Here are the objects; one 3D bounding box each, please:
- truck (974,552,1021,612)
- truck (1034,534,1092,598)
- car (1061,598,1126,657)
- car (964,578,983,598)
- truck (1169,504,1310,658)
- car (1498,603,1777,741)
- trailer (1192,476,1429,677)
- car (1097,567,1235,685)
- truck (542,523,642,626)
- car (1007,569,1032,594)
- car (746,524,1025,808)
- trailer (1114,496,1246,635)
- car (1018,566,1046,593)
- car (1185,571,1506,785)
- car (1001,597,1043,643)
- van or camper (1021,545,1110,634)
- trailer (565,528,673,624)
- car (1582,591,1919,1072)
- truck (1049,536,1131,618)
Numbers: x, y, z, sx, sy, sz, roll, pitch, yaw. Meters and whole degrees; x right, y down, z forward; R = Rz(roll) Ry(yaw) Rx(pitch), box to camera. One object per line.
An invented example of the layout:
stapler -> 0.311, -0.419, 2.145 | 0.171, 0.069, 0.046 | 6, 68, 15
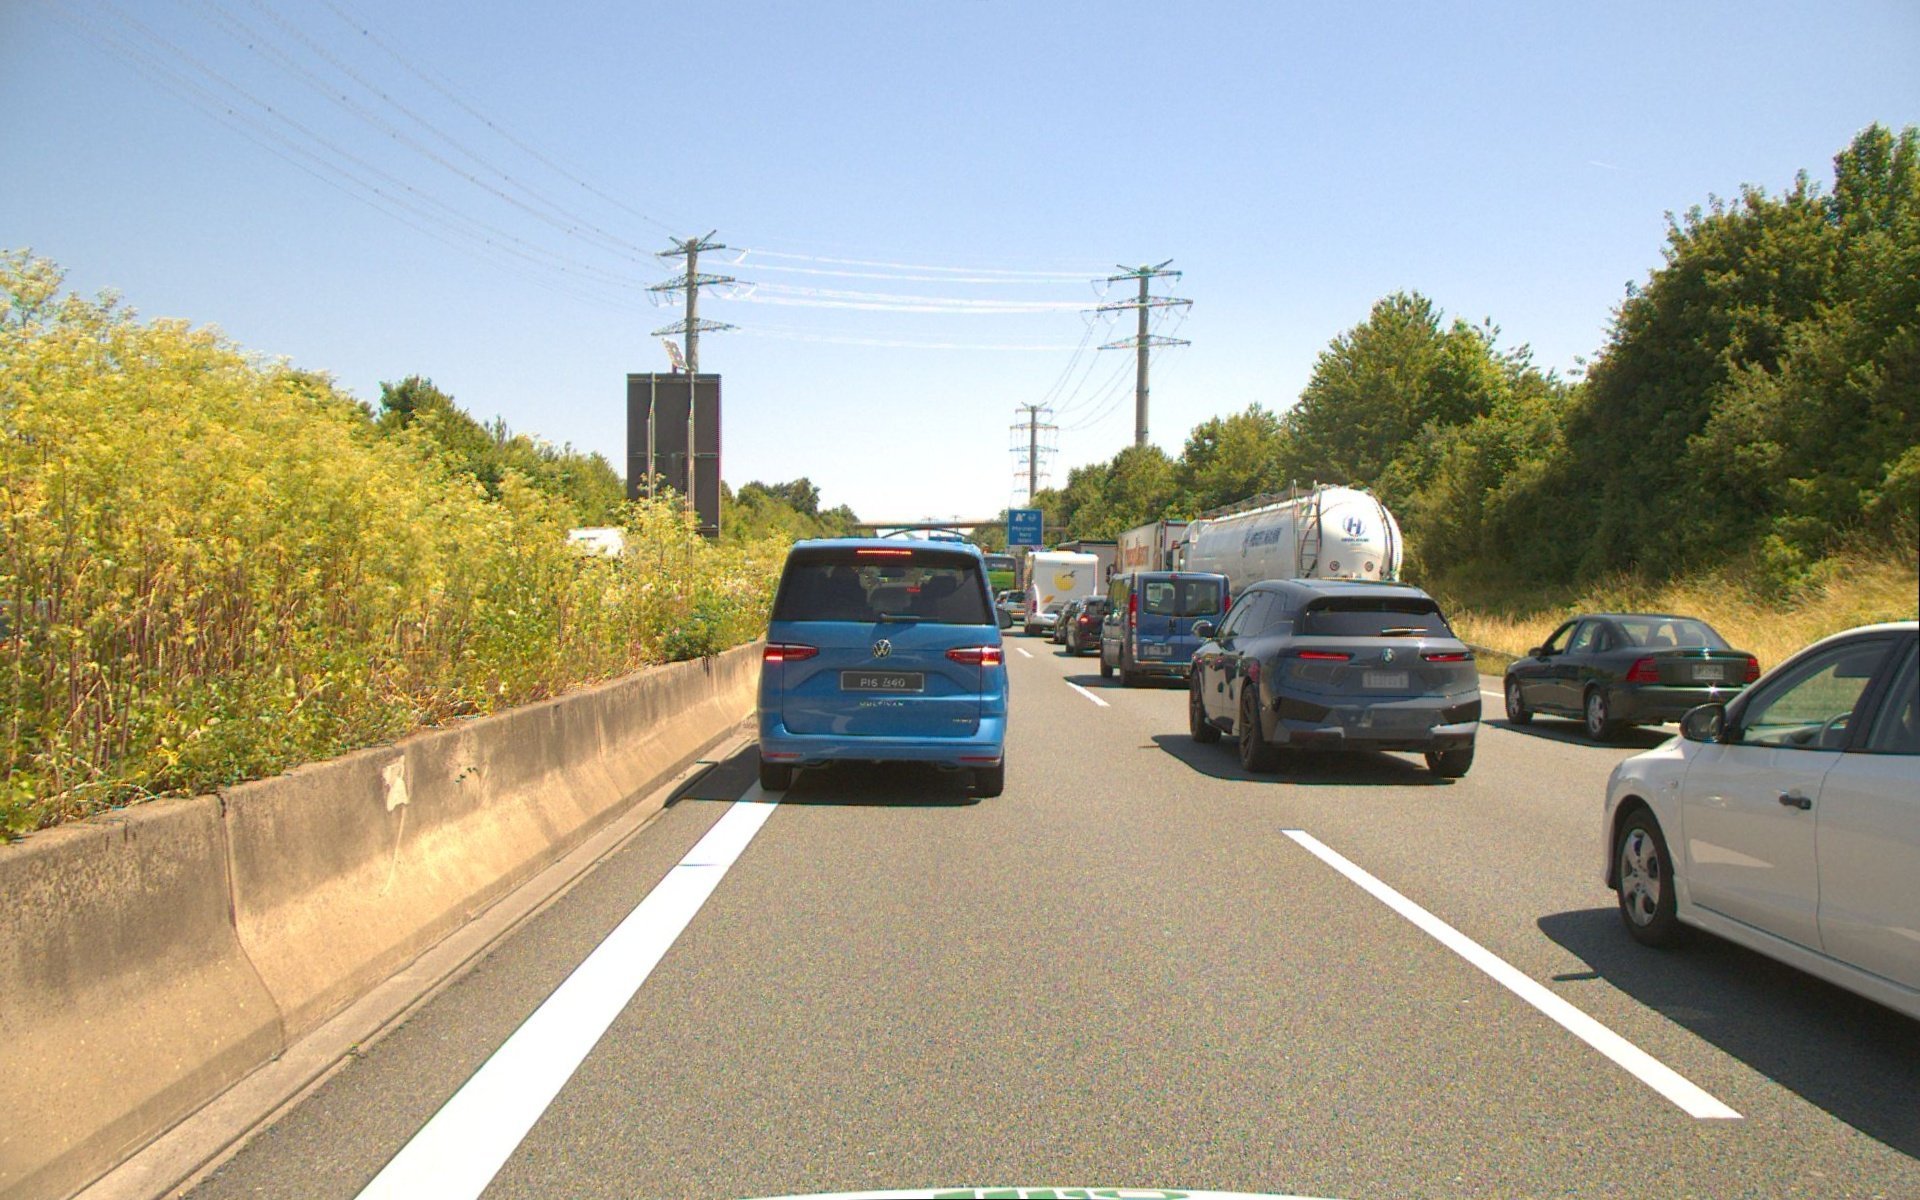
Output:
truck -> 2.441, -1.137, 110.680 | 2.836, 3.832, 10.139 | 1, 0, 0
truck -> 6.623, -2.074, 108.480 | 2.836, 3.832, 13.343 | 1, 0, 0
car -> 3.439, 0.704, 43.014 | 1.333, 1.445, 3.884 | -1, -1, -1
car -> 1.433, -1.287, 179.975 | 1.953, 2.163, 3.999 | 1, 0, -2
truck -> 7.465, -0.478, 44.891 | 2.736, 3.903, 5.570 | 0, 0, -2
car -> 7.836, 0.781, 19.540 | 1.608, 1.441, 3.988 | -1, -1, -1
trailer -> 7.656, -0.467, 38.028 | 2.705, 3.912, 11.482 | 0, 0, -2
car -> 3.624, 0.458, 29.807 | 1.884, 1.959, 4.235 | -1, -1, -1
truck -> -16.195, -1.067, 73.259 | 2.950, 4.302, 6.685 | 1, 0, 0
car -> 5.088, -1.604, 142.847 | 1.953, 2.049, 3.999 | 1, 0, -1
car -> -0.550, 0.451, 13.501 | 1.881, 1.919, 3.999 | 2, 0, -1
trailer -> 7.753, -1.136, 60.147 | 2.853, 4.547, 12.150 | 0, 0, -2
car -> 5.771, -1.636, 132.550 | 1.953, 2.049, 3.999 | 1, 0, -1
car -> 3.455, 0.661, 15.788 | 1.958, 1.745, 4.624 | 0, -1, -1
car -> 2.861, 0.929, 76.598 | 1.799, 2.033, 4.000 | 0, -1, 0
van or camper -> 3.833, -0.361, 61.646 | 2.896, 3.075, 7.102 | 1, 0, 0
trailer -> -16.253, -1.055, 79.735 | 2.950, 4.302, 10.979 | 1, 0, 0
car -> 3.900, 0.736, 5.976 | 1.780, 1.511, 3.999 | 0, -1, -1
truck -> 6.587, -1.069, 86.316 | 2.944, 3.832, 15.710 | 1, 0, 0
